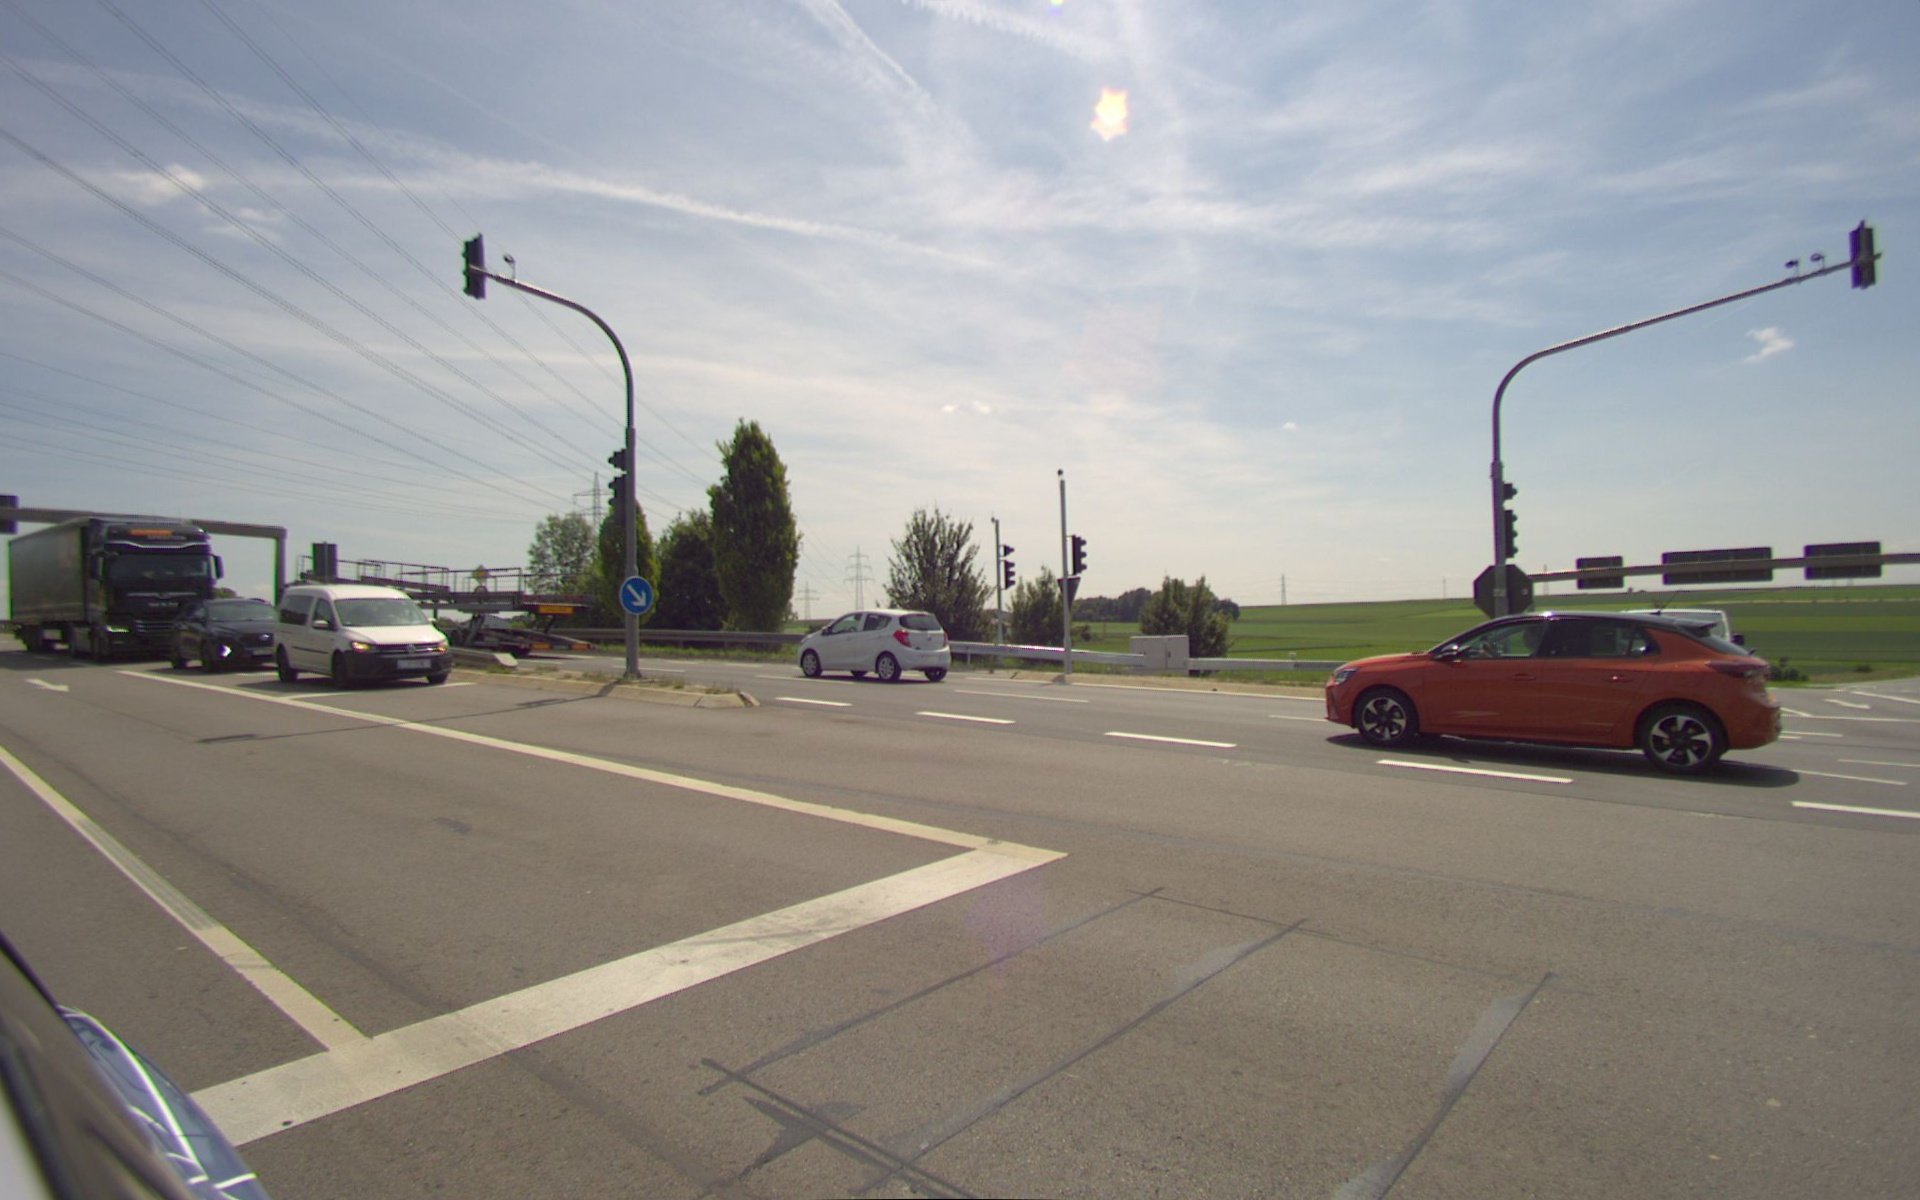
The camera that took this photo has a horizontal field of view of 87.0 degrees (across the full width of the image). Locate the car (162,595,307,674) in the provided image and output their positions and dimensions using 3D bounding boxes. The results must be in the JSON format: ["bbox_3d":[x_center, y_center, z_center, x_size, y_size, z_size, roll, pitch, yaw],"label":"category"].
[{"bbox_3d":[-17.191,0.756,23.908,4.346,1.670,1.837,-1,0,41],"label":"car"}]

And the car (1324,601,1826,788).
[{"bbox_3d":[5.960,0.807,10.140,4.066,1.508,1.626,-1,-3,43],"label":"car"}]

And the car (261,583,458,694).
[{"bbox_3d":[-11.288,0.641,18.870,4.749,1.812,1.749,-1,0,41],"label":"car"}]

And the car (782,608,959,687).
[{"bbox_3d":[-1.965,0.955,21.618,3.801,1.508,1.626,0,-1,43],"label":"car"}]

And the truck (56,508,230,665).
[{"bbox_3d":[-23.524,-0.345,29.047,5.966,4.043,2.755,-1,0,40],"label":"truck"}]

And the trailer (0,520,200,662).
[{"bbox_3d":[-28.812,-0.228,33.513,13.775,3.943,2.755,-1,1,40],"label":"trailer"}]

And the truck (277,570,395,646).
[{"bbox_3d":[-27.118,0.324,43.899,5.987,3.036,2.770,0,0,42],"label":"truck"}]

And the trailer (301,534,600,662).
[{"bbox_3d":[-19.688,-0.065,37.510,19.789,3.791,2.612,0,0,41],"label":"trailer"}]

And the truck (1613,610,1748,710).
[{"bbox_3d":[14.553,1.153,20.681,1.994,1.770,5.222,0,-2,33],"label":"truck"}]
